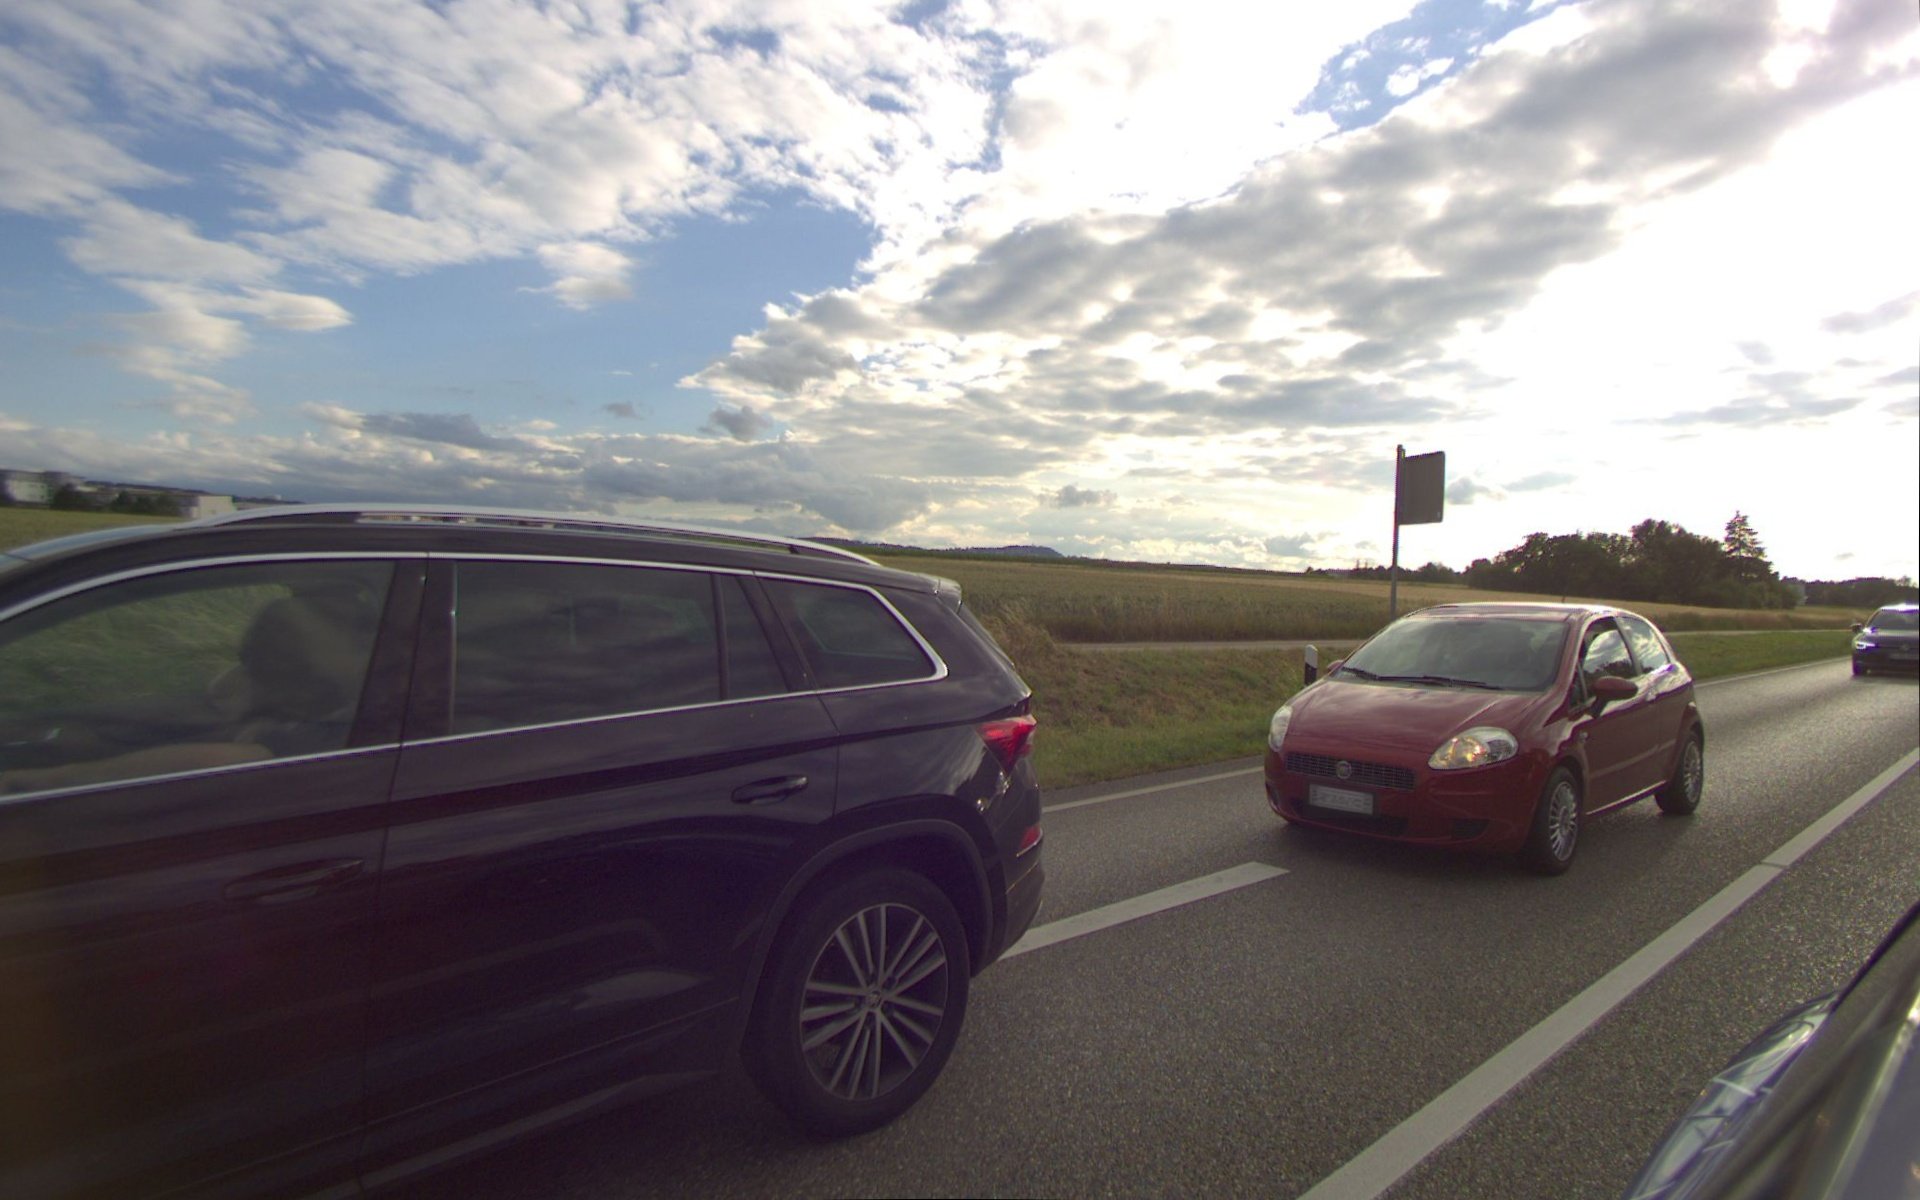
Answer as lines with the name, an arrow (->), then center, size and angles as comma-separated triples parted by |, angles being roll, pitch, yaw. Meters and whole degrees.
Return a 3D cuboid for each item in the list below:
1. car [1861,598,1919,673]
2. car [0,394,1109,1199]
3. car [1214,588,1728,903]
car -> 20.542, 0.698, 21.336 | 3.962, 1.475, 1.797 | 0, 0, -41
car -> -1.802, 0.535, 2.553 | 4.477, 1.730, 1.839 | -1, 0, -41
car -> 3.539, 0.675, 6.702 | 3.840, 1.475, 1.710 | -1, 0, -41
